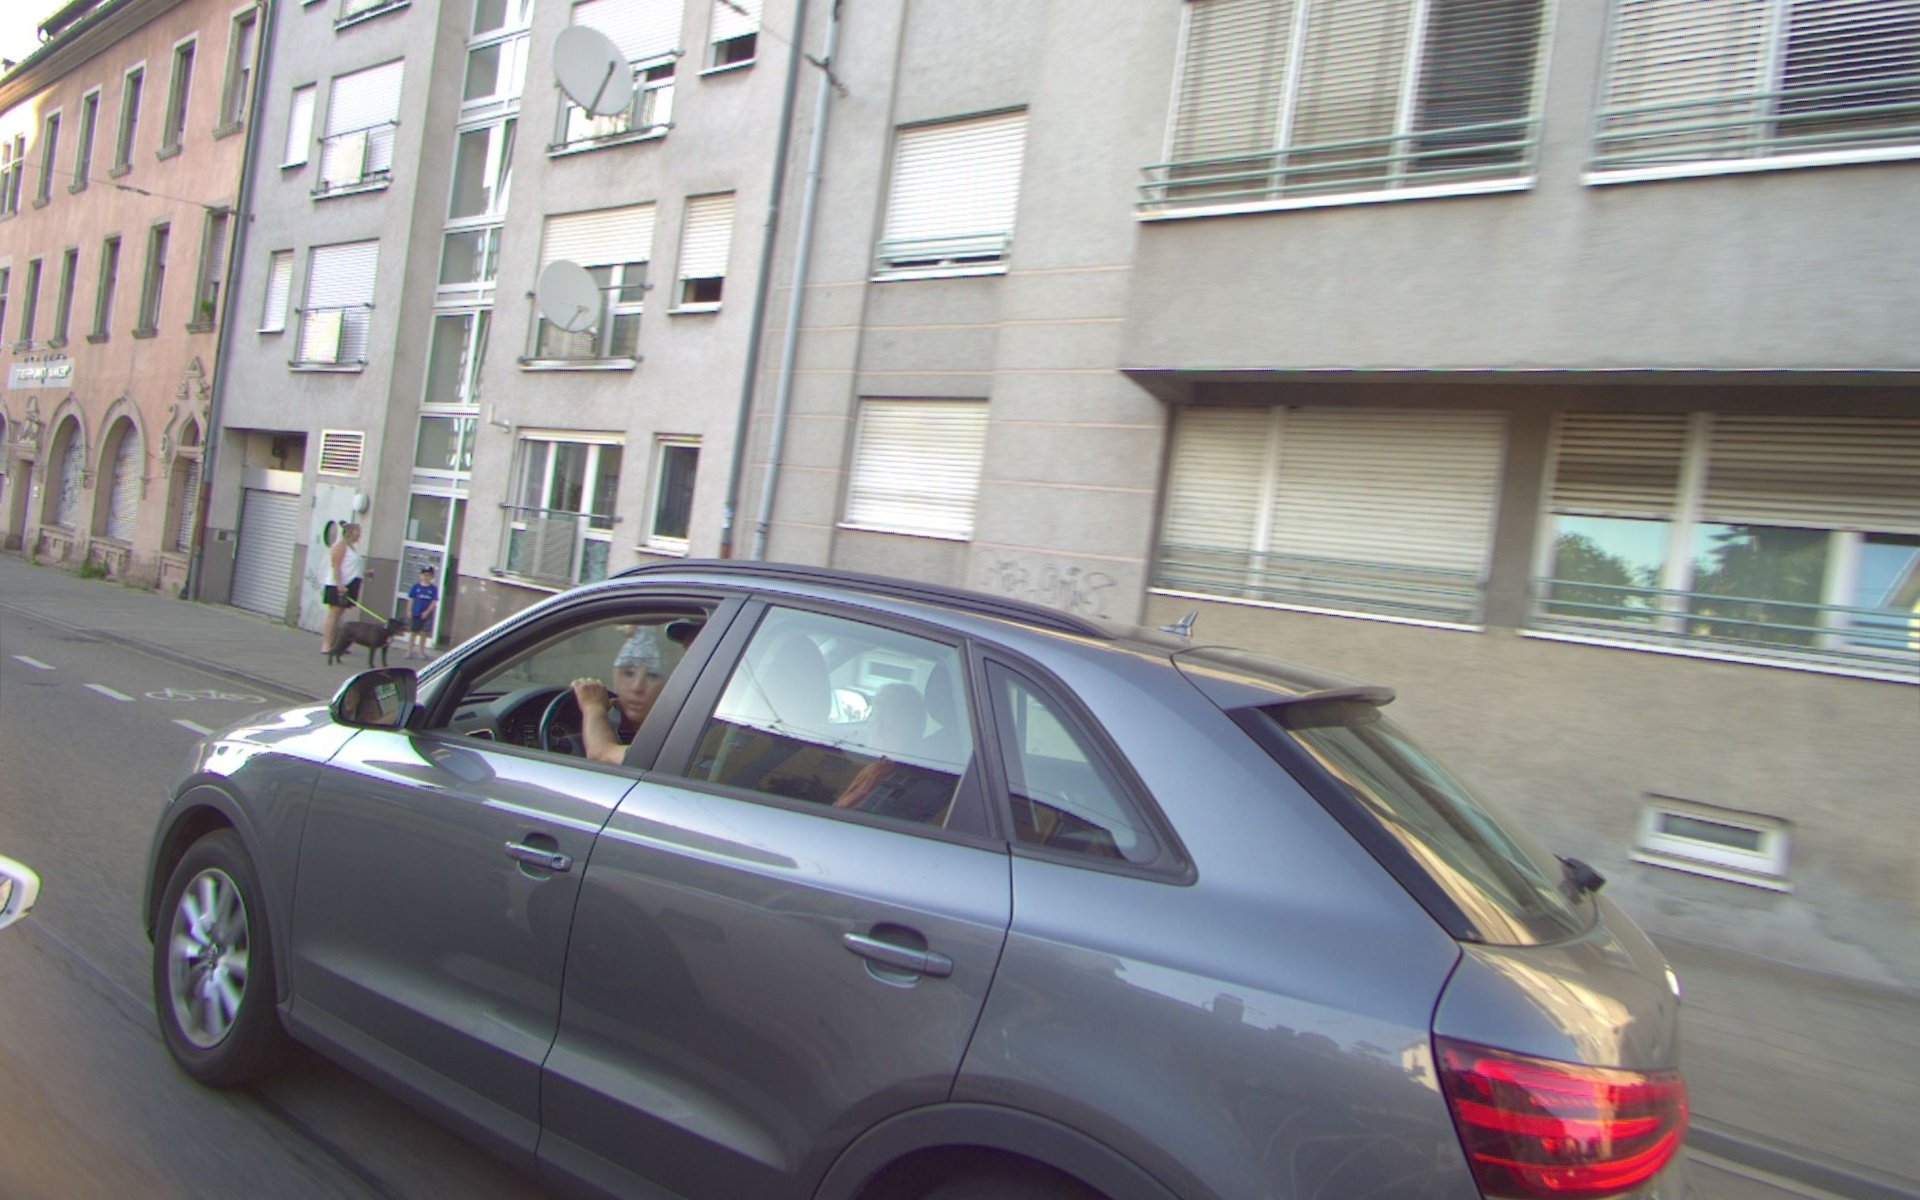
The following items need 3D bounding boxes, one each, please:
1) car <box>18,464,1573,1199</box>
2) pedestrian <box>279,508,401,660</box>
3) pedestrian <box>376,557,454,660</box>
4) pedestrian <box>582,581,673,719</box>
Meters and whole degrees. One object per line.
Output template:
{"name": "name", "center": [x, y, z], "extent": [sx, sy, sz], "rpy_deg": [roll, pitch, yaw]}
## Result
{"name": "car", "center": [-0.707, 0.686, 2.904], "extent": [3.999, 1.606, 1.770], "rpy_deg": [8, 0, 30]}
{"name": "pedestrian", "center": [-7.939, -0.199, 12.887], "extent": [0.980, 1.794, 0.830], "rpy_deg": [8, 1, 33]}
{"name": "pedestrian", "center": [-7.252, 0.116, 13.389], "extent": [0.575, 1.267, 0.587], "rpy_deg": [8, 1, 33]}
{"name": "pedestrian", "center": [-3.495, 0.523, 10.576], "extent": [0.599, 1.361, 0.515], "rpy_deg": [7, 1, 29]}
